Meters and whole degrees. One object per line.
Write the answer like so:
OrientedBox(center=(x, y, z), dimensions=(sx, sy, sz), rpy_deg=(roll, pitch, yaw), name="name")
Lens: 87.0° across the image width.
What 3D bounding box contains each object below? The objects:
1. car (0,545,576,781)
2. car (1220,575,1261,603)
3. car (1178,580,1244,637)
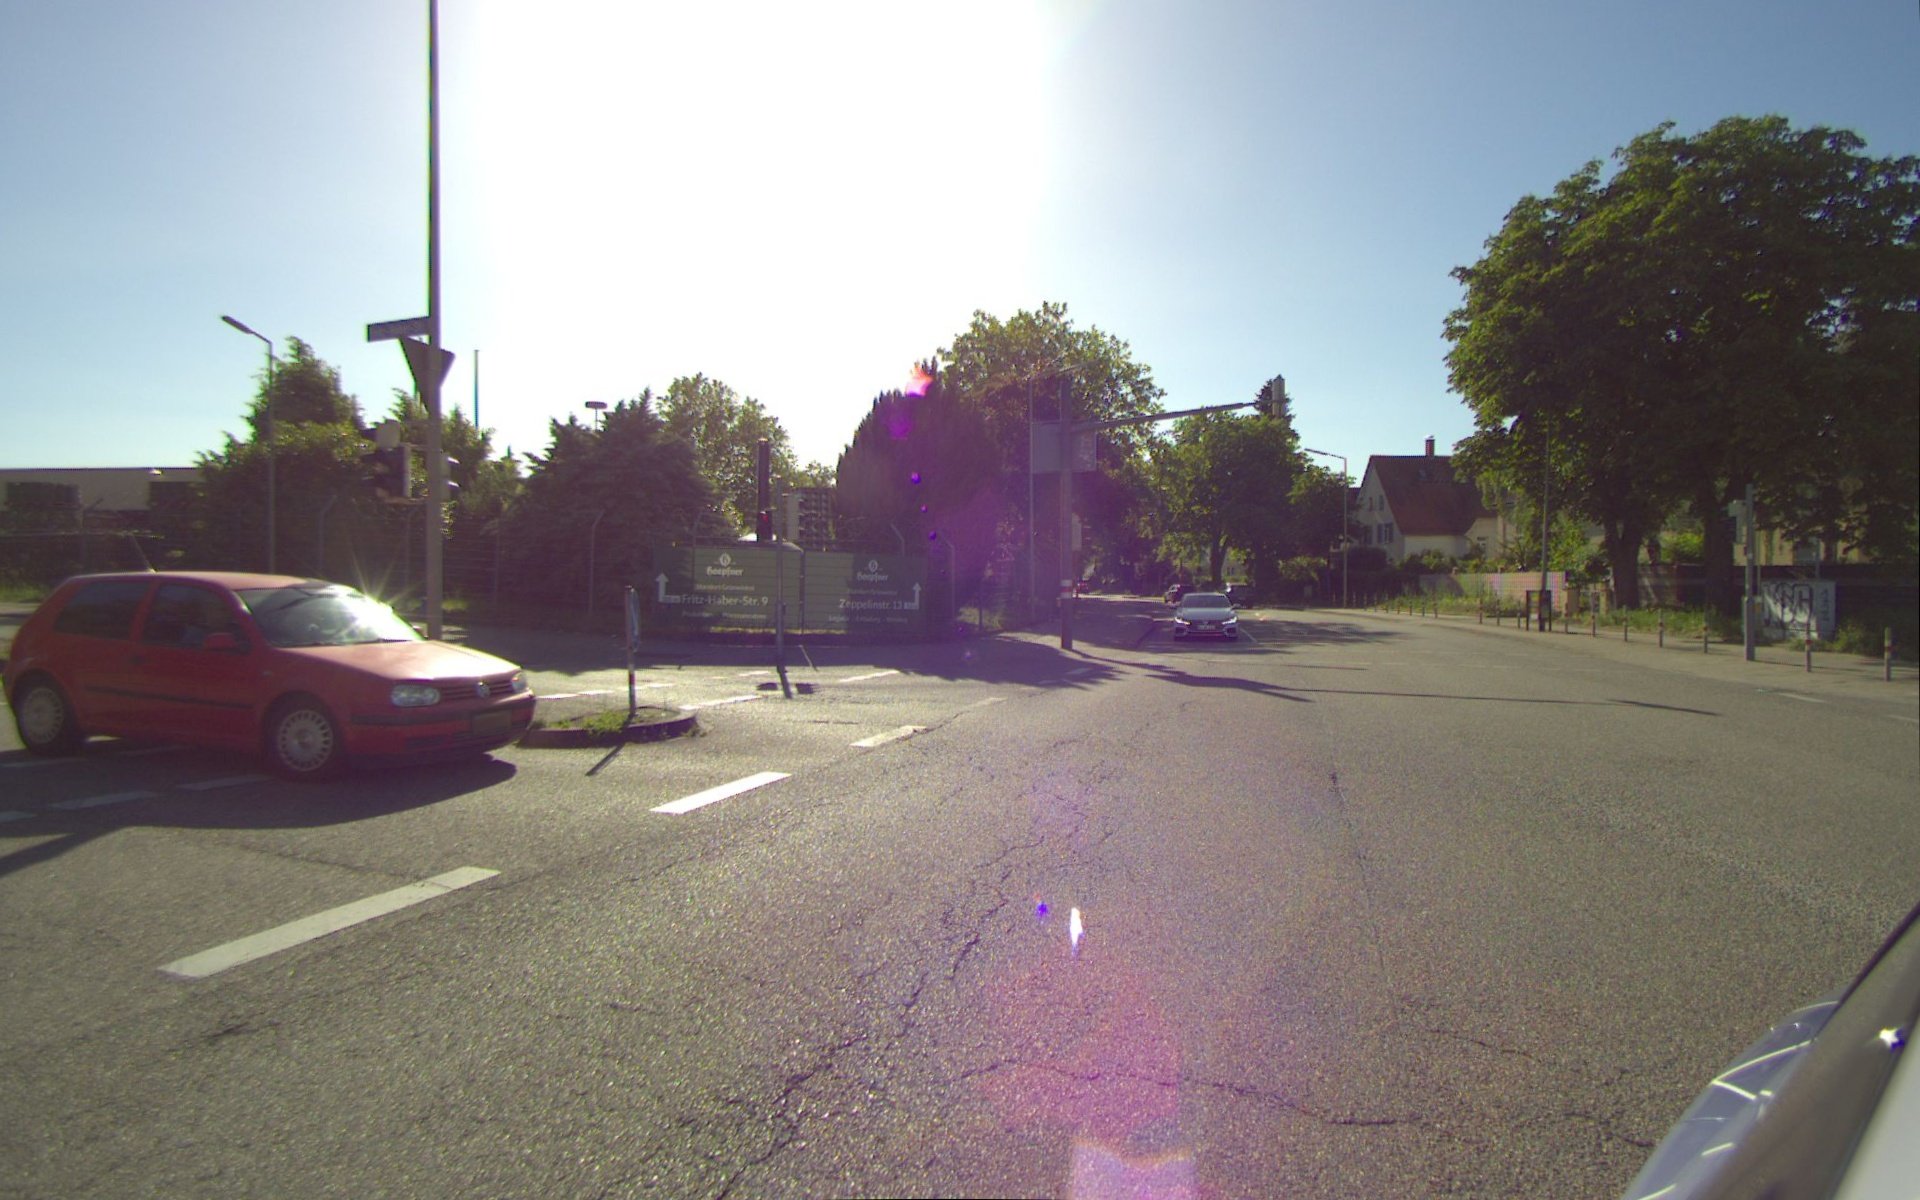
OrientedBox(center=(-5.393, 0.355, 8.031), dimensions=(4.077, 1.488, 1.856), rpy_deg=(2, 2, 14), name="car")
OrientedBox(center=(17.806, -0.712, 64.408), dimensions=(1.830, 1.655, 4.250), rpy_deg=(1, 1, 6), name="car")
OrientedBox(center=(7.565, 0.184, 30.420), dimensions=(1.784, 1.551, 4.495), rpy_deg=(0, 1, 14), name="car")
